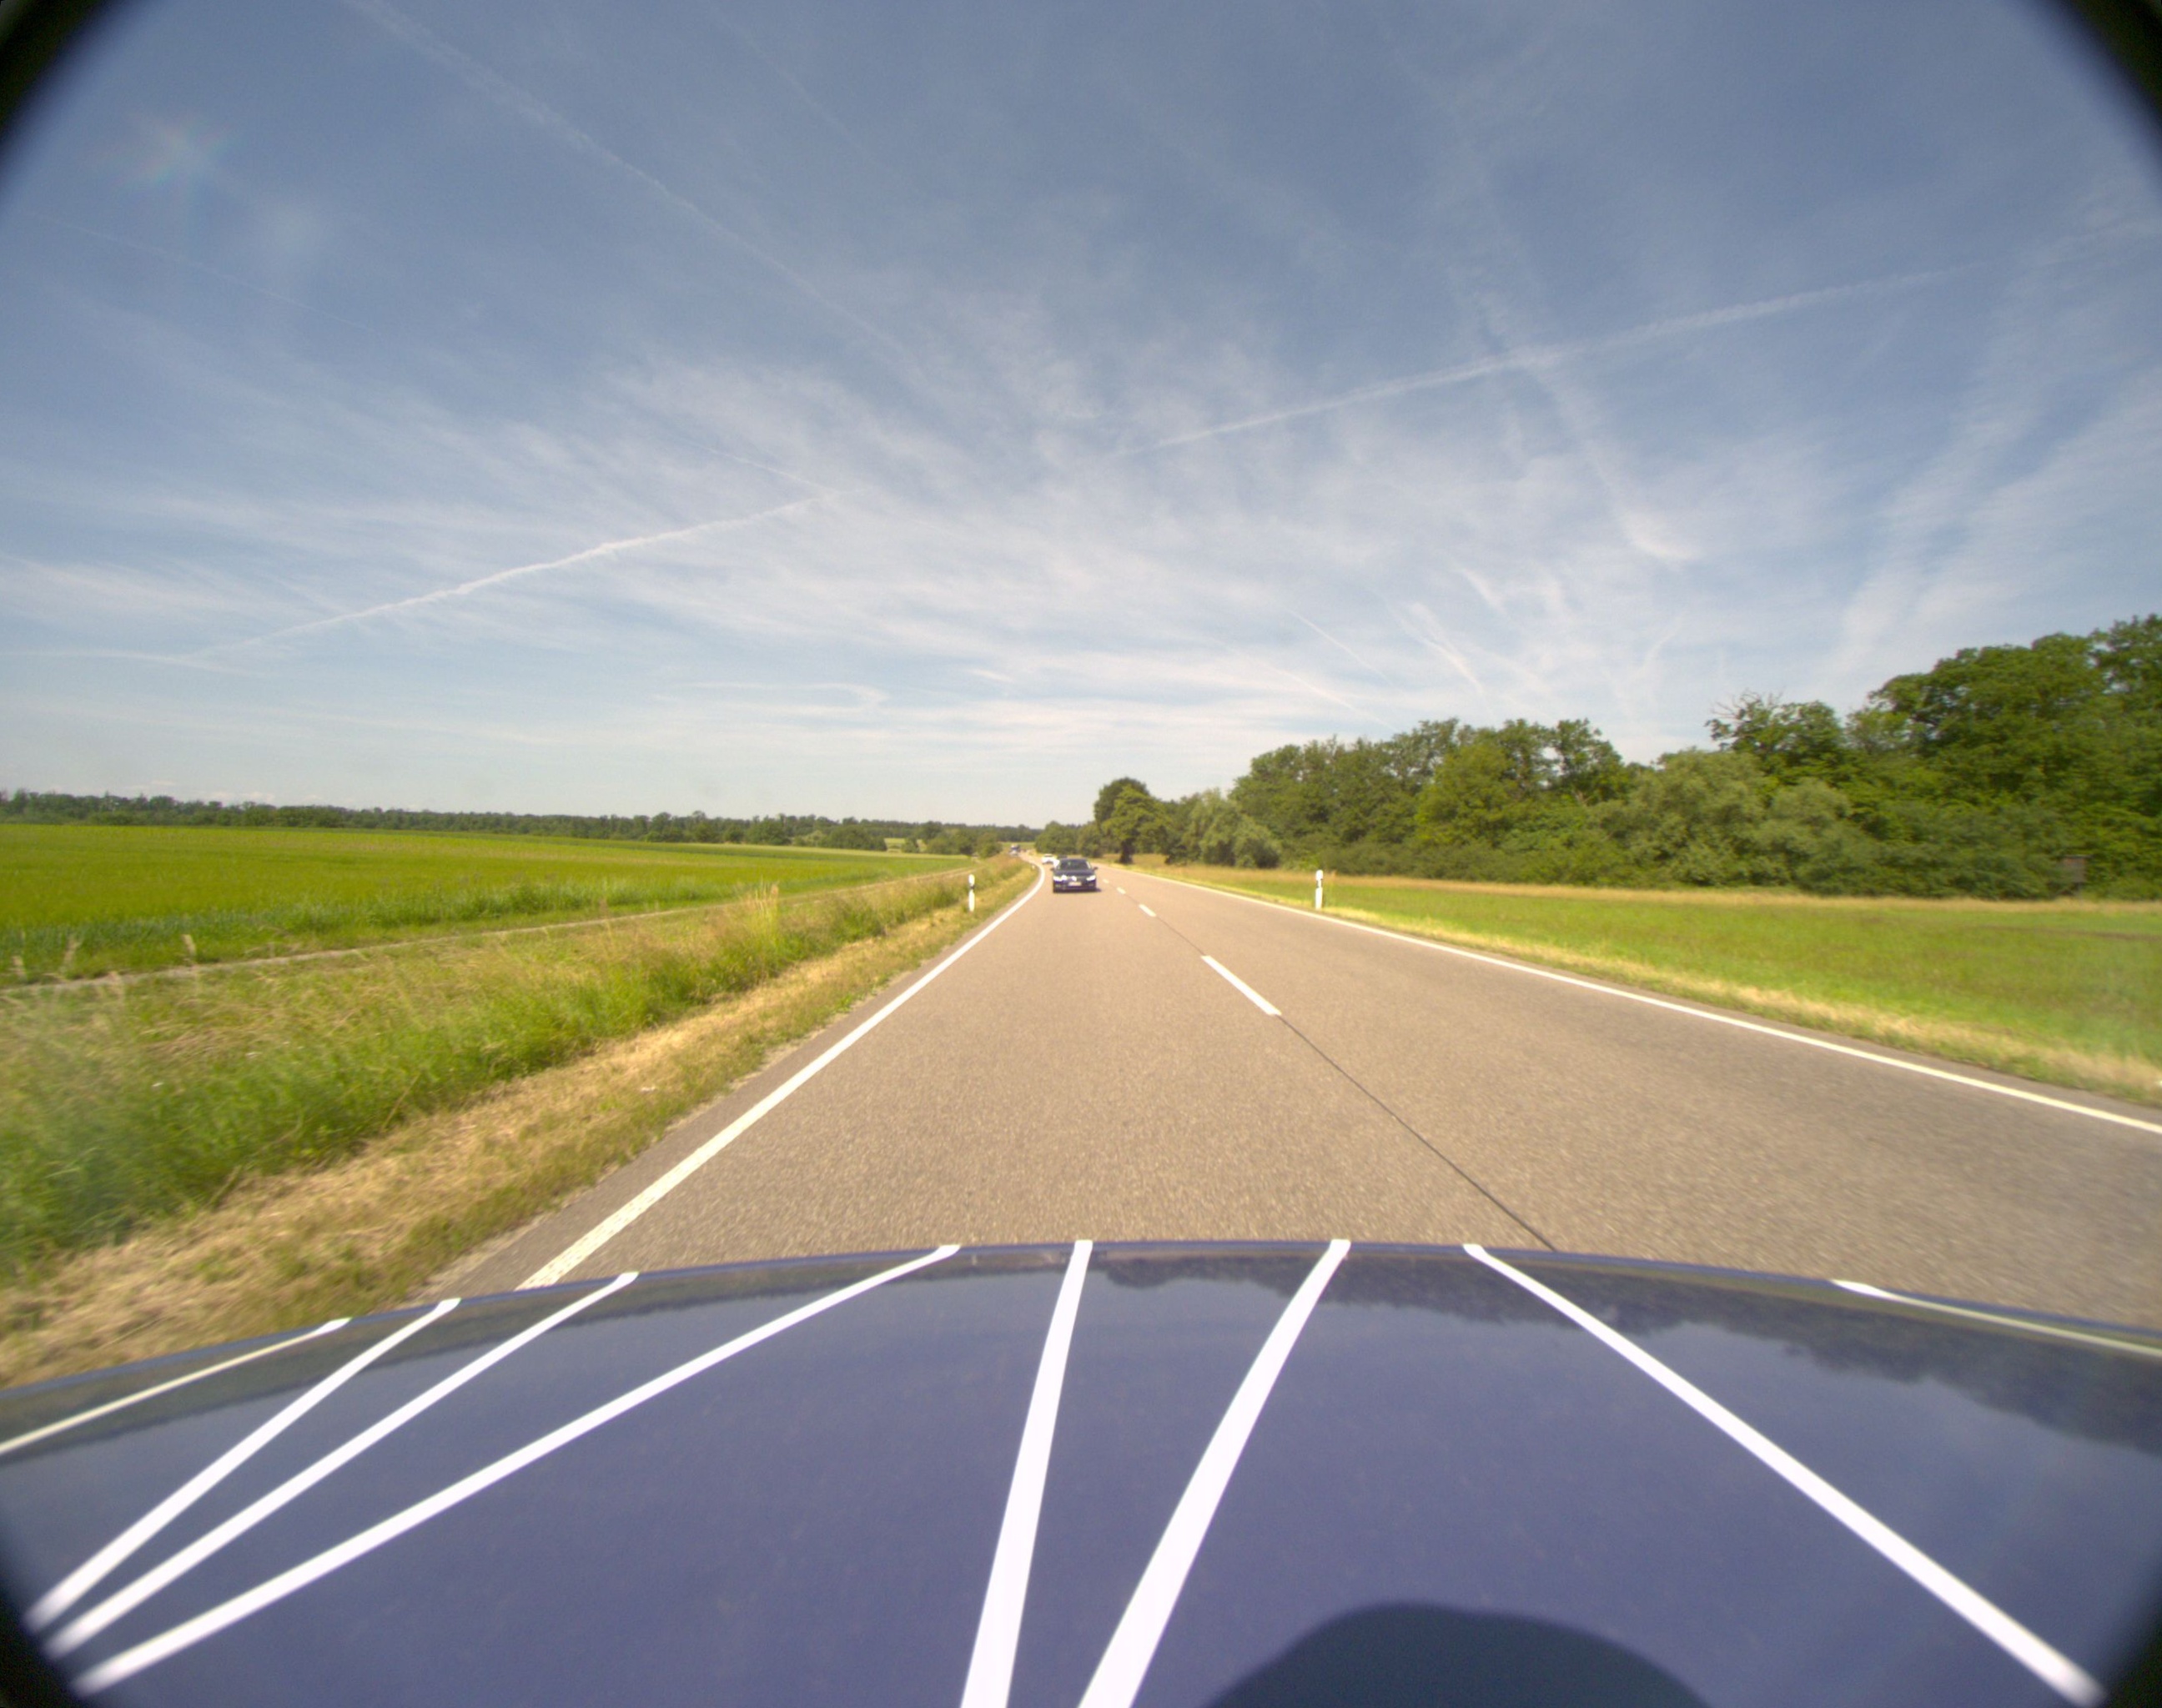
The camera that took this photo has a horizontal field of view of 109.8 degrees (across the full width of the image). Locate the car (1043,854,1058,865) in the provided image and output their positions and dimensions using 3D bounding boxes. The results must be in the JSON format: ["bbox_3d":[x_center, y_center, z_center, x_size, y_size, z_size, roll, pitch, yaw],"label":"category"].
[{"bbox_3d":[-4.593,0.813,113.491,1.929,1.501,4.289,-2,0,-5],"label":"car"}]

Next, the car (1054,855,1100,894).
[{"bbox_3d":[-0.241,0.832,33.255,1.822,1.501,4.499,-2,0,-2],"label":"car"}]

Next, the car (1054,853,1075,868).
[{"bbox_3d":[-1.766,0.675,80.469,1.929,1.501,4.289,0,0,-4],"label":"car"}]
